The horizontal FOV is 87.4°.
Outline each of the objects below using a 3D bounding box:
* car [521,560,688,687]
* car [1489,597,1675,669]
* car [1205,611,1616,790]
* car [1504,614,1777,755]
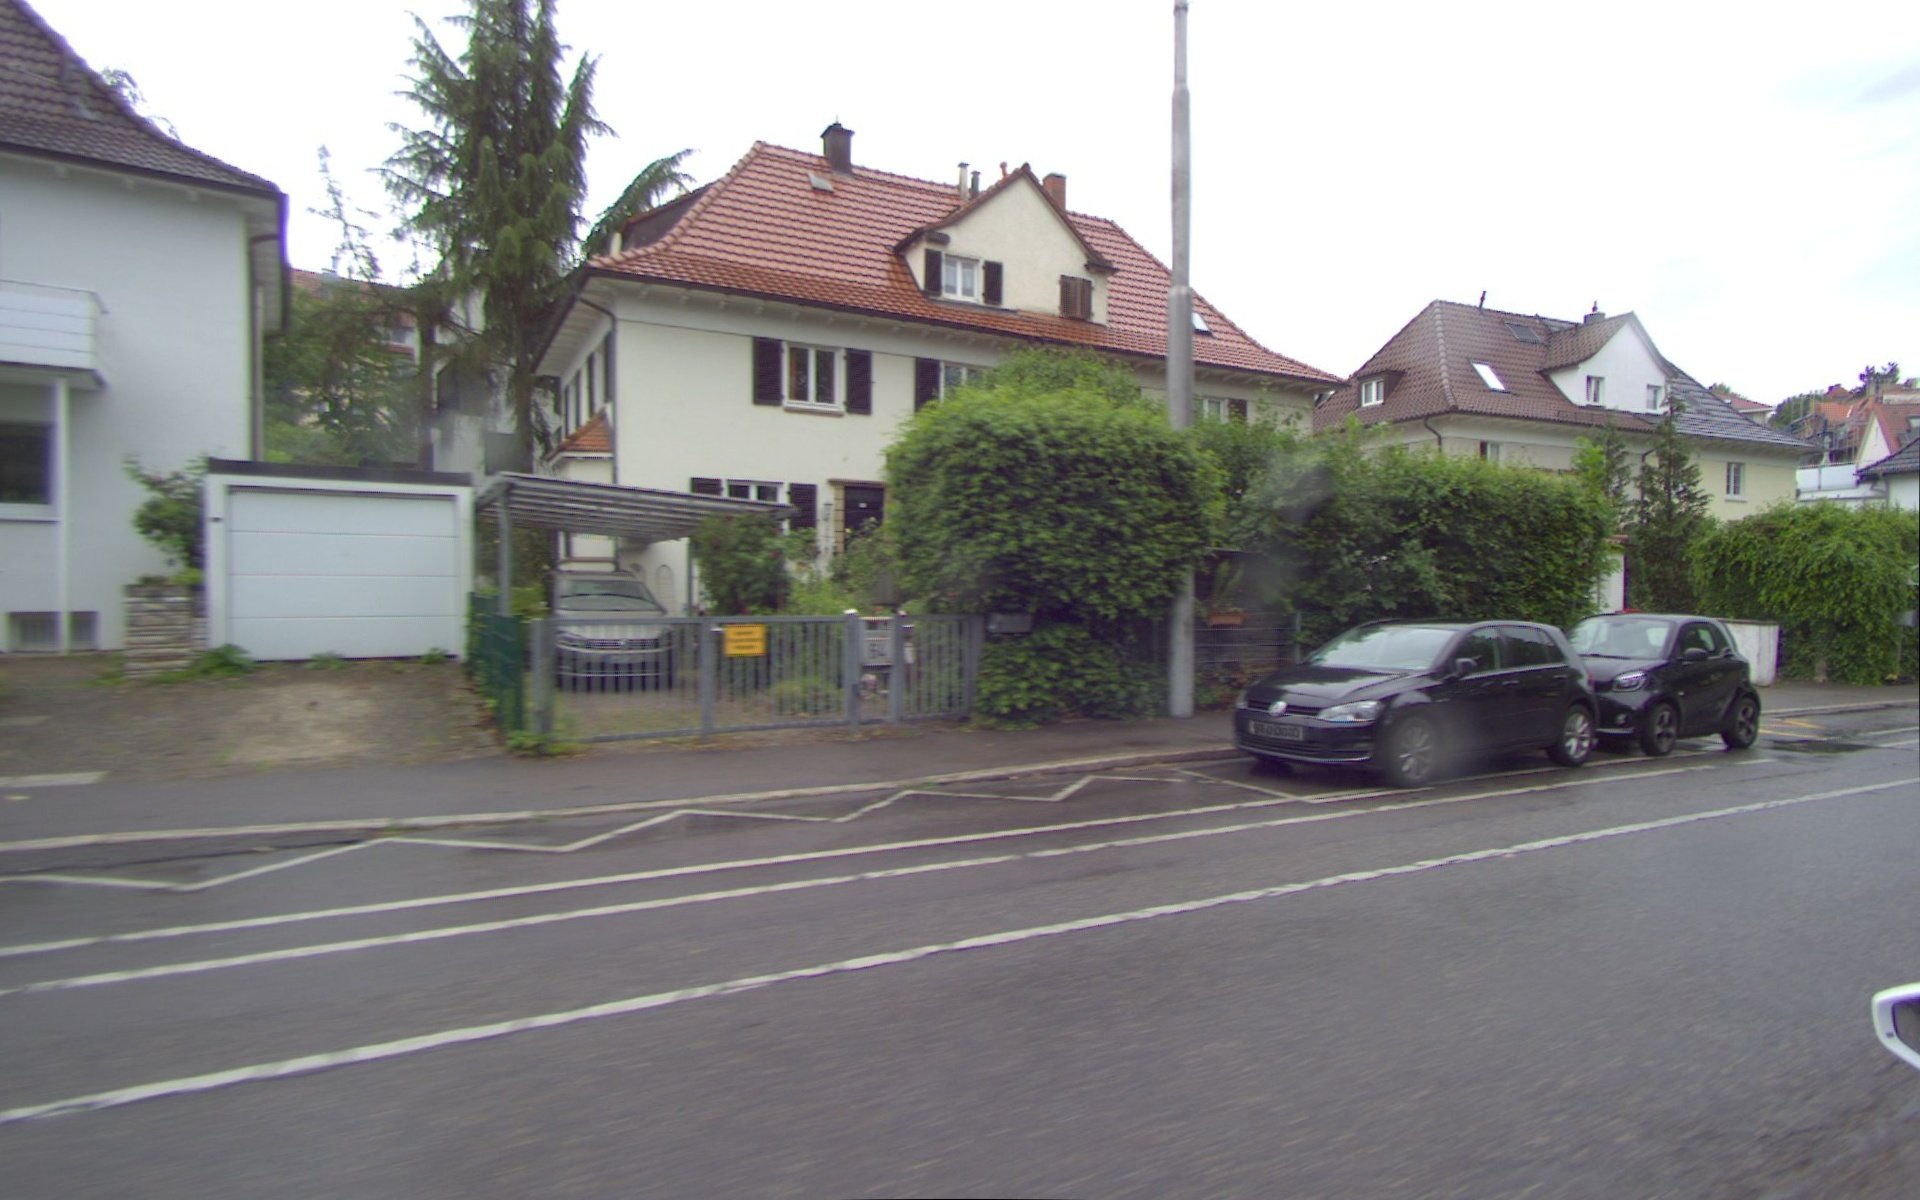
[{"bbox_3d":[-5.402,0.265,14.937,1.642,1.467,3.967,2,3,-30],"label":"car"},{"bbox_3d":[15.690,0.805,25.515,1.614,1.442,3.627,2,3,-28],"label":"car"},{"bbox_3d":[4.519,0.839,9.898,4.168,1.437,1.679,1,-1,-32],"label":"car"},{"bbox_3d":[8.105,0.915,11.952,2.992,1.473,1.513,1,-1,-29],"label":"car"}]
